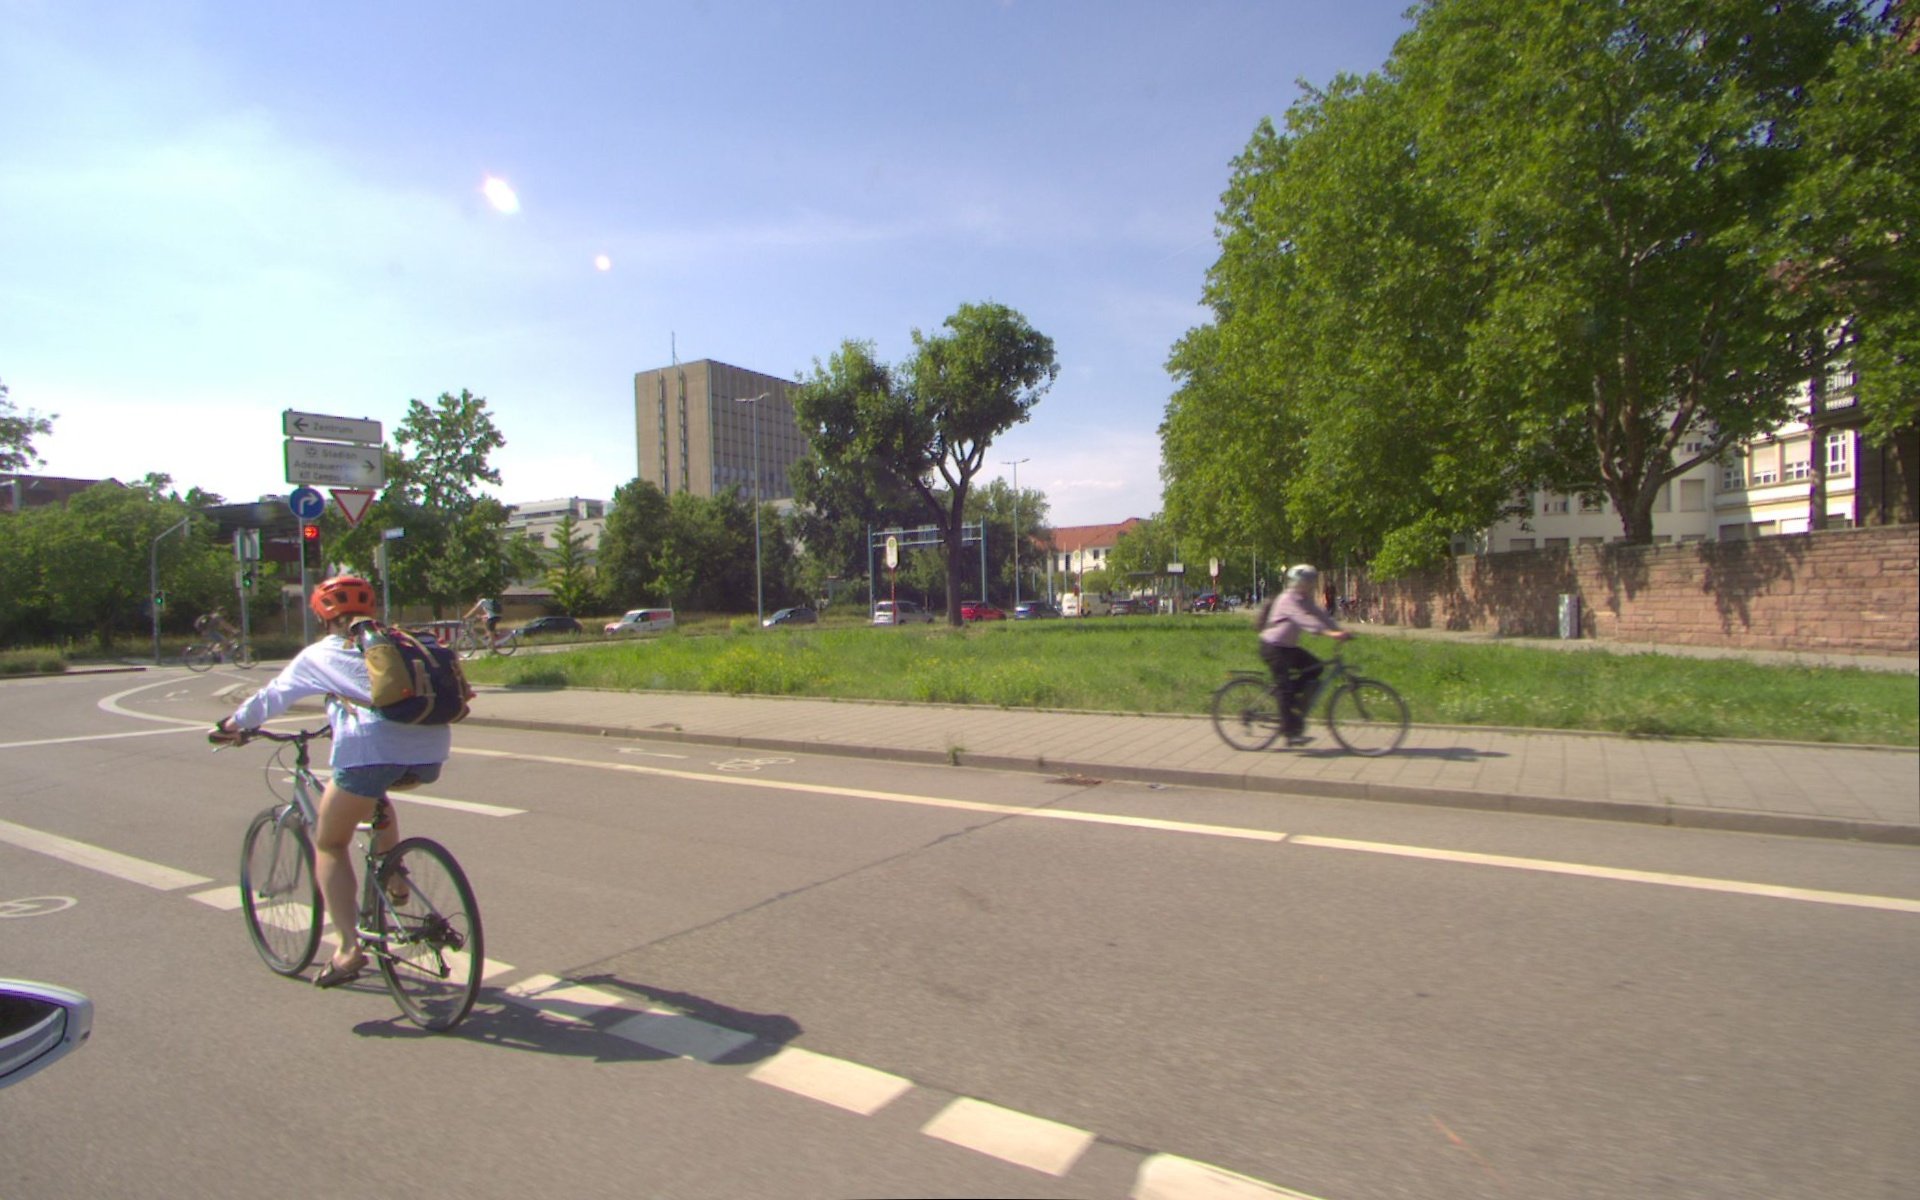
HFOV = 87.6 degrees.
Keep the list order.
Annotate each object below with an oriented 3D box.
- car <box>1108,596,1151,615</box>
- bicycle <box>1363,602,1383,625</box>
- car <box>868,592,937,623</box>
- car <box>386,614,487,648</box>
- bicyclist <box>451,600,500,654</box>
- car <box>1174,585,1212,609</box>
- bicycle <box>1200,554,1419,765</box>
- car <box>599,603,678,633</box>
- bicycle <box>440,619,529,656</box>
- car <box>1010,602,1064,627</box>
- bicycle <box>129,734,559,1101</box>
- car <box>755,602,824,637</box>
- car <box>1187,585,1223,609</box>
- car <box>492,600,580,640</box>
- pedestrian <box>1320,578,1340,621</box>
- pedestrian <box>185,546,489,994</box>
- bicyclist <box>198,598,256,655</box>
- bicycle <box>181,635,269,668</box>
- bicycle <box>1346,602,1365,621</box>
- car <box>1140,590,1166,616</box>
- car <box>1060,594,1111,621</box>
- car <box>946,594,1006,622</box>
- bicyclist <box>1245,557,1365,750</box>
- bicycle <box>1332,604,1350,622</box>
[{"bbox_3d":[13.048,0.409,76.902,1.729,1.357,3.973,-1,1,35],"label":"car"},{"bbox_3d":[16.157,0.529,39.153,0.365,0.867,1.307,-1,1,7],"label":"bicycle"},{"bbox_3d":[-3.084,0.384,54.160,1.727,1.528,3.978,-1,1,32],"label":"car"},{"bbox_3d":[-25.990,1.507,49.784,1.972,1.483,3.978,-2,0,32],"label":"car"},{"bbox_3d":[-13.572,0.757,28.069,1.121,1.489,0.496,-1,-1,-10],"label":"bicyclist"},{"bbox_3d":[20.640,-0.249,88.646,1.973,2.040,3.976,-1,1,34],"label":"car"},{"bbox_3d":[3.210,0.518,9.253,1.785,1.789,0.676,-1,1,32],"label":"bicycle"},{"bbox_3d":[-19.129,1.054,59.715,1.882,1.590,4.301,-1,1,31],"label":"car"},{"bbox_3d":[-13.332,1.039,28.117,2.128,0.928,0.674,-2,1,-11],"label":"bicycle"},{"bbox_3d":[5.079,0.965,65.658,1.729,1.493,3.973,-1,1,35],"label":"car"},{"bbox_3d":[-2.463,1.098,3.911,1.998,0.944,0.595,0,0,31],"label":"bicycle"},{"bbox_3d":[-10.787,1.228,63.511,1.976,2.039,3.971,-4,-1,37],"label":"car"},{"bbox_3d":[22.399,-0.275,91.434,1.973,2.040,3.976,-1,1,34],"label":"car"},{"bbox_3d":[-23.107,1.080,54.716,1.973,2.041,3.976,-1,1,34],"label":"car"},{"bbox_3d":[15.446,-0.016,41.852,0.608,1.763,0.599,-1,1,3],"label":"pedestrian"},{"bbox_3d":[-2.384,0.579,3.831,0.999,1.485,0.582,-1,0,31],"label":"pedestrian"},{"bbox_3d":[-20.035,0.707,27.369,0.558,1.494,1.158,0,1,44],"label":"bicyclist"},{"bbox_3d":[-20.048,1.395,27.343,0.554,0.803,1.878,1,2,44],"label":"bicycle"},{"bbox_3d":[16.238,0.468,41.093,0.334,0.738,1.364,-1,1,5],"label":"bicycle"},{"bbox_3d":[16.464,0.236,85.267,1.963,2.040,3.995,-1,1,14],"label":"car"},{"bbox_3d":[8.950,0.514,71.293,1.729,1.781,4.403,-1,1,35],"label":"car"},{"bbox_3d":[0.988,0.492,59.435,1.727,1.527,3.981,-1,-3,32],"label":"car"},{"bbox_3d":[3.192,0.469,9.250,0.905,1.678,0.676,-1,1,32],"label":"bicyclist"},{"bbox_3d":[16.244,0.550,42.740,0.334,0.738,1.364,-1,1,5],"label":"bicycle"}]
